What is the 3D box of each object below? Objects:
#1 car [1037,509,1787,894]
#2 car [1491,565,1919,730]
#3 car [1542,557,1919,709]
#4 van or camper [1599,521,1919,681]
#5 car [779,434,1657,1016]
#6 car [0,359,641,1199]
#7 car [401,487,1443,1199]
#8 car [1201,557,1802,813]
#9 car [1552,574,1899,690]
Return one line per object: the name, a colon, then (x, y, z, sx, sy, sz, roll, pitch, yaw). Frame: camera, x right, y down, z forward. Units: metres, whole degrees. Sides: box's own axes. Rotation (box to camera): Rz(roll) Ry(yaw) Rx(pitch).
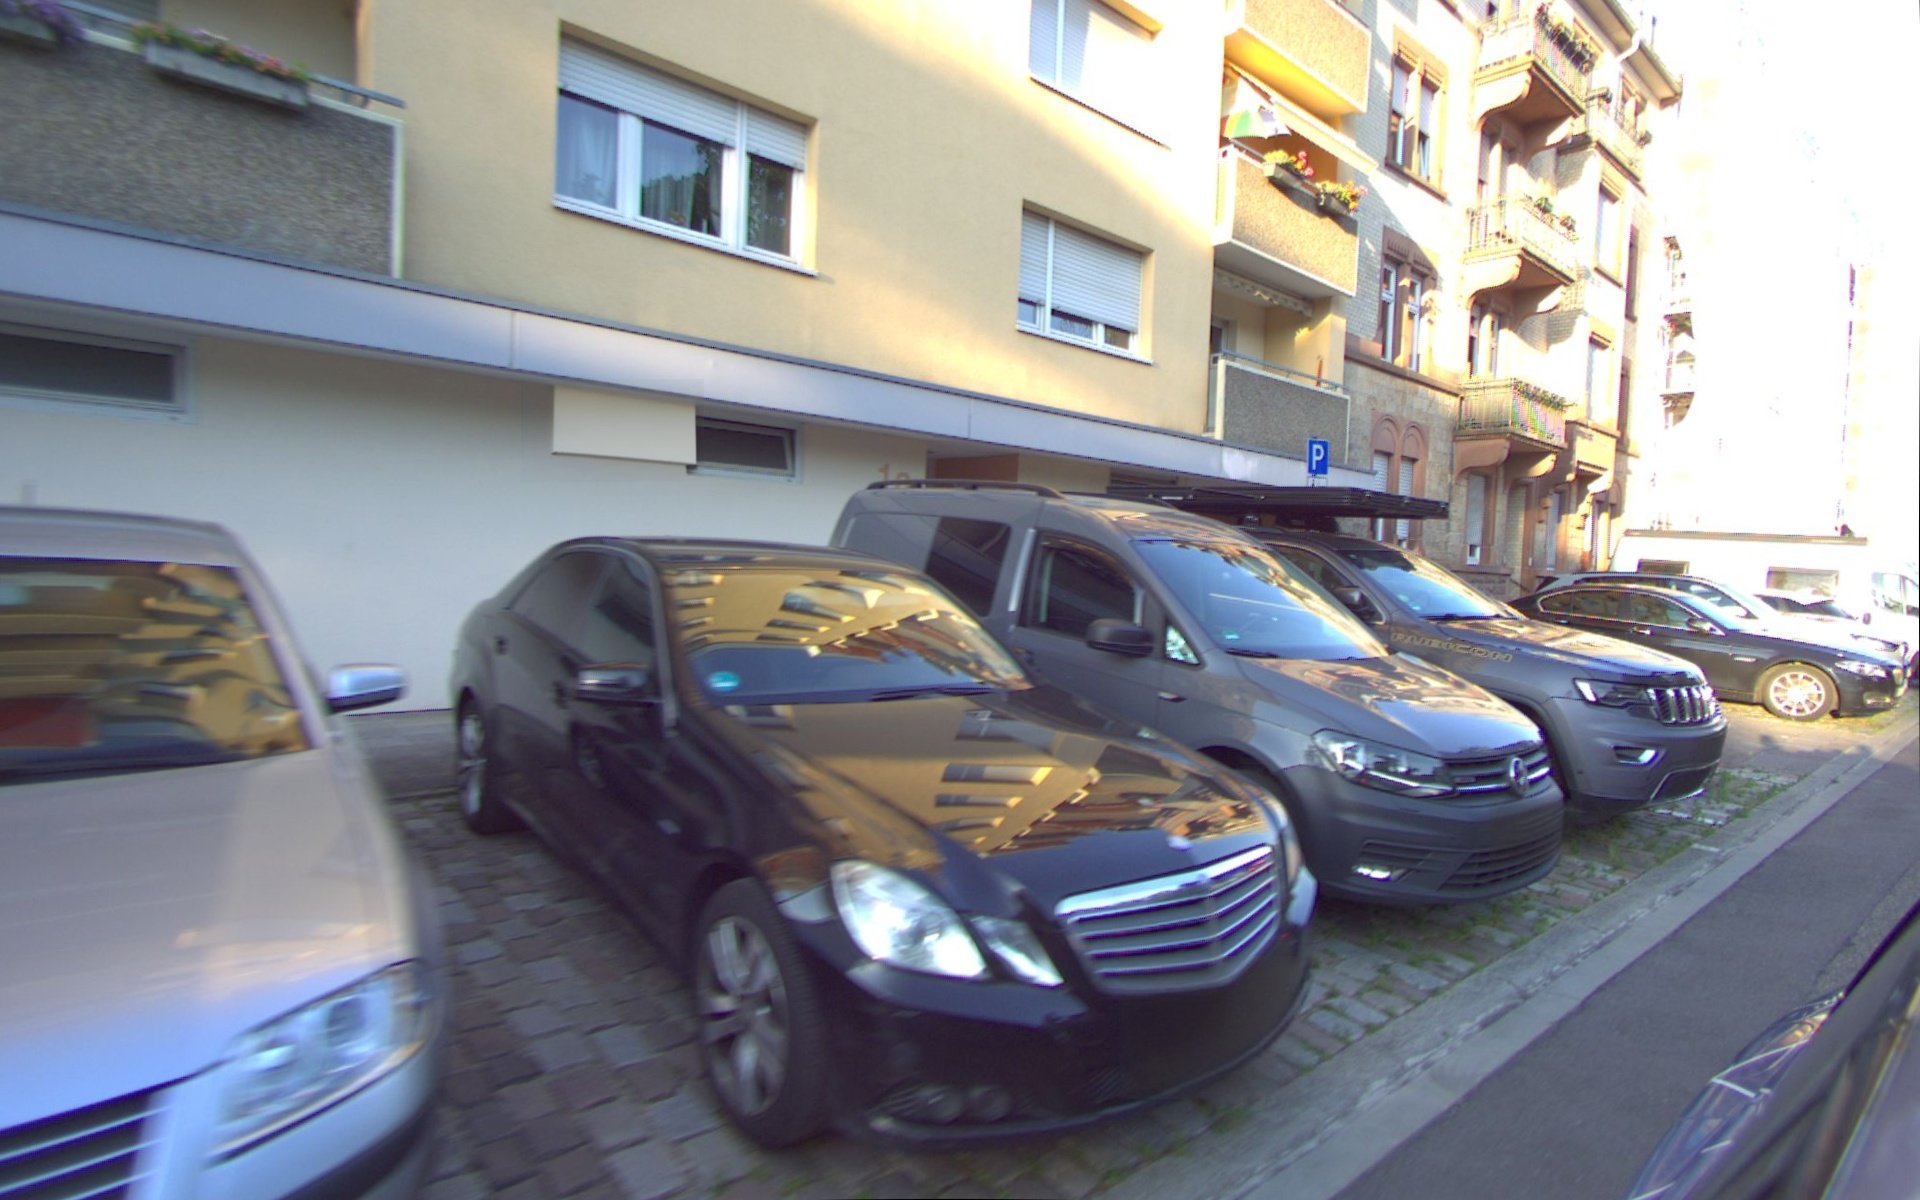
car: (2.824, 0.346, 7.277, 1.813, 1.885, 4.523, 0, 4, -41)
car: (9.710, 0.445, 13.322, 1.813, 1.572, 4.415, -2, 6, -39)
car: (11.492, 0.349, 15.130, 1.813, 1.769, 4.415, 0, 4, -40)
van or camper: (15.555, -0.066, 18.525, 2.014, 2.534, 6.075, 0, 4, -40)
car: (0.952, 0.245, 5.810, 1.814, 2.004, 4.648, -2, 6, -41)
car: (-2.689, 0.356, 2.893, 1.814, 1.611, 4.414, -2, 6, -41)
car: (-0.718, 0.403, 4.075, 1.814, 1.581, 4.414, -2, 6, -41)
car: (4.566, 0.488, 9.203, 1.813, 1.572, 4.417, -2, 5, -38)
car: (12.902, 0.429, 17.309, 1.813, 1.638, 4.414, 0, 2, -39)
